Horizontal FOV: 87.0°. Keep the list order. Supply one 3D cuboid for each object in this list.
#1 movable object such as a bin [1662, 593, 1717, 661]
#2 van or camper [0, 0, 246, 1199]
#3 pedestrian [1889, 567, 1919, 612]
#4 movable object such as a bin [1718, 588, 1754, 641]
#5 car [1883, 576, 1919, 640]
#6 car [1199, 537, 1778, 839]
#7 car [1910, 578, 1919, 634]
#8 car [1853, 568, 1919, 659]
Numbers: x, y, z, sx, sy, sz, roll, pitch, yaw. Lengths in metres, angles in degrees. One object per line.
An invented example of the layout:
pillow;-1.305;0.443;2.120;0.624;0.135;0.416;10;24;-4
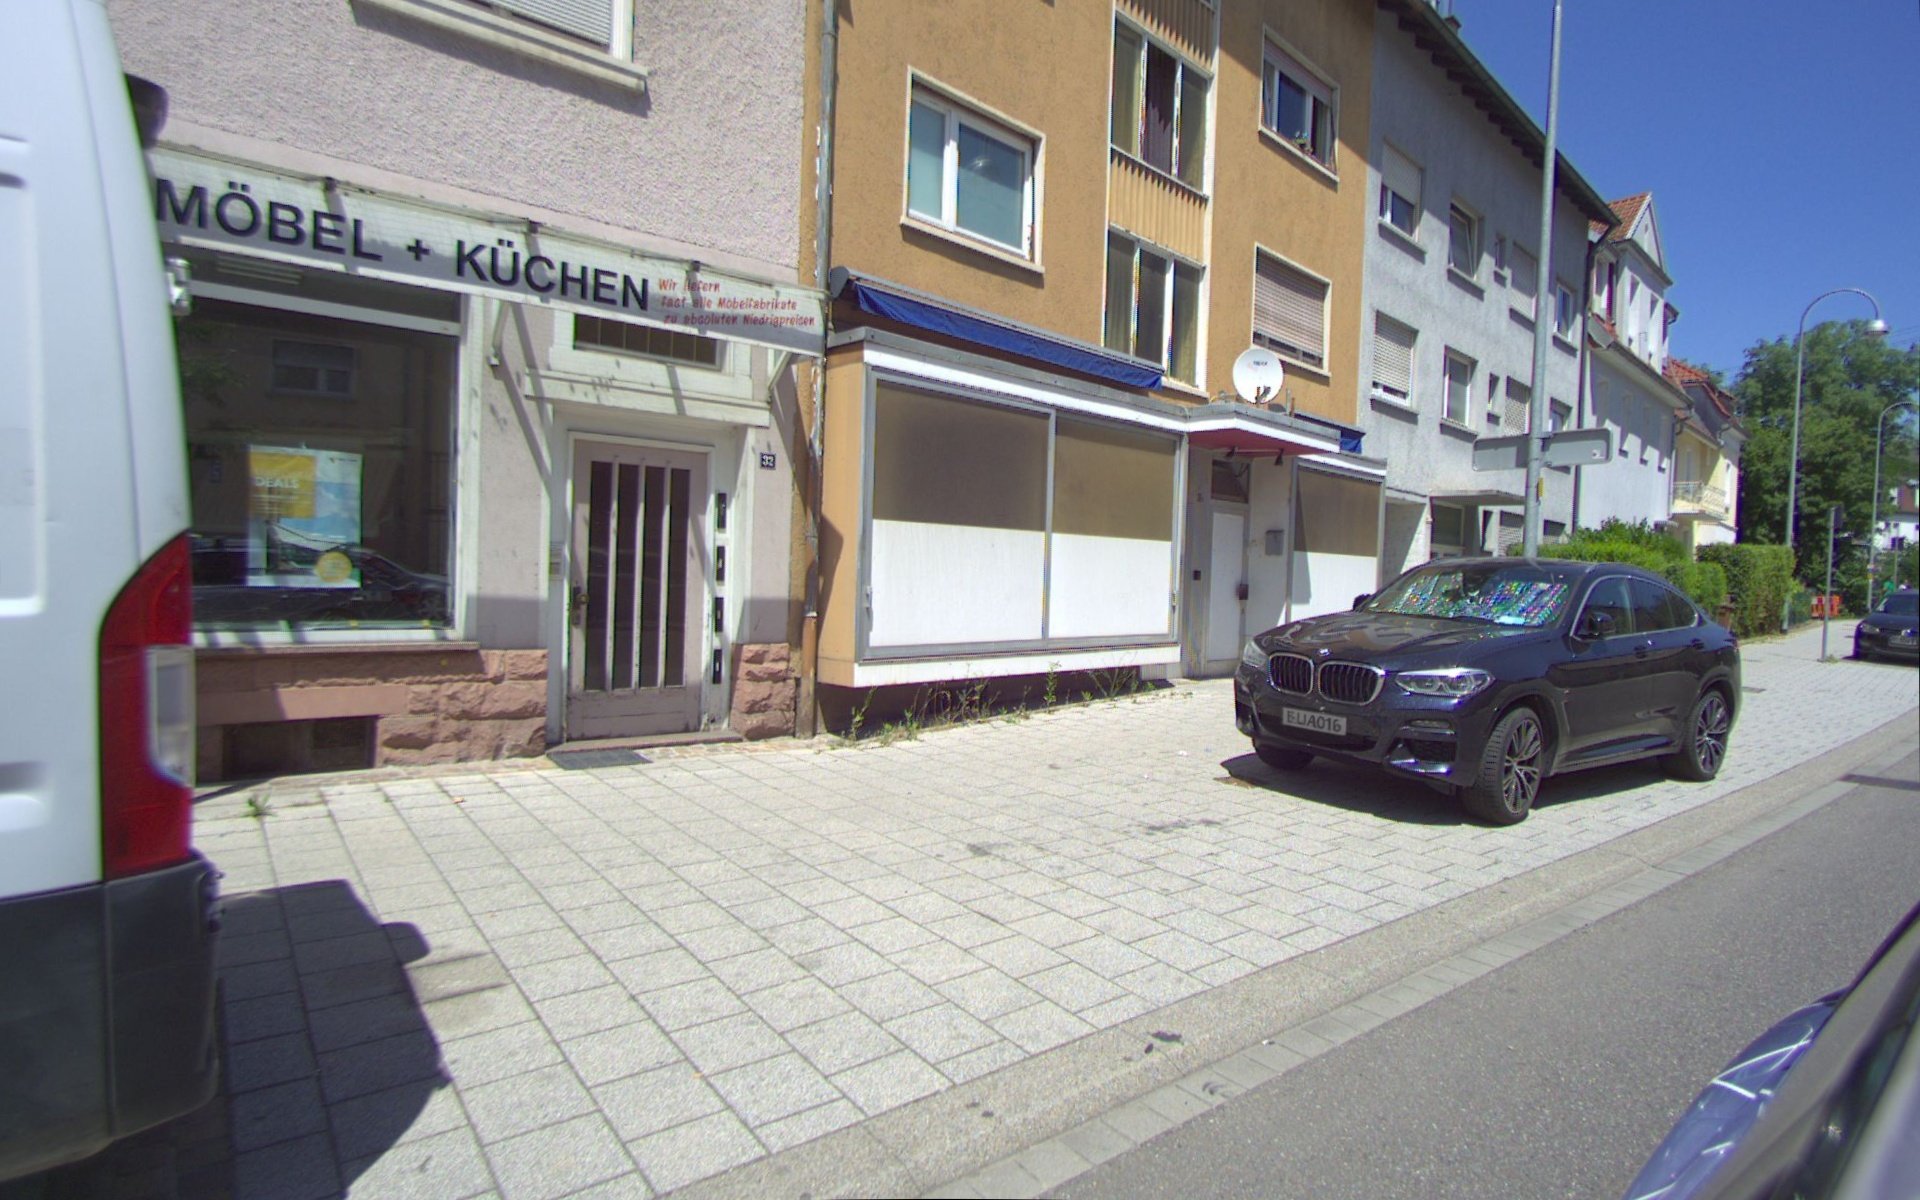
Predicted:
movable object such as a bin;12.408;0.447;17.214;0.636;1.090;0.594;0;4;-42
van or camper;-4.114;-0.041;0.779;5.664;2.620;2.170;0;4;-41
pedestrian;37.147;-0.423;39.812;0.517;1.726;0.797;6;4;27
movable object such as a bin;16.854;0.301;21.982;0.546;1.117;0.488;0;3;-42
car;25.228;0.223;25.937;4.640;1.492;1.807;-1;6;-43
car;4.032;0.430;7.534;4.280;1.626;1.904;0;4;-33
car;28.757;0.194;29.075;4.080;1.548;1.806;-1;3;-43
car;19.594;0.277;20.306;3.927;1.652;1.734;0;5;-38
